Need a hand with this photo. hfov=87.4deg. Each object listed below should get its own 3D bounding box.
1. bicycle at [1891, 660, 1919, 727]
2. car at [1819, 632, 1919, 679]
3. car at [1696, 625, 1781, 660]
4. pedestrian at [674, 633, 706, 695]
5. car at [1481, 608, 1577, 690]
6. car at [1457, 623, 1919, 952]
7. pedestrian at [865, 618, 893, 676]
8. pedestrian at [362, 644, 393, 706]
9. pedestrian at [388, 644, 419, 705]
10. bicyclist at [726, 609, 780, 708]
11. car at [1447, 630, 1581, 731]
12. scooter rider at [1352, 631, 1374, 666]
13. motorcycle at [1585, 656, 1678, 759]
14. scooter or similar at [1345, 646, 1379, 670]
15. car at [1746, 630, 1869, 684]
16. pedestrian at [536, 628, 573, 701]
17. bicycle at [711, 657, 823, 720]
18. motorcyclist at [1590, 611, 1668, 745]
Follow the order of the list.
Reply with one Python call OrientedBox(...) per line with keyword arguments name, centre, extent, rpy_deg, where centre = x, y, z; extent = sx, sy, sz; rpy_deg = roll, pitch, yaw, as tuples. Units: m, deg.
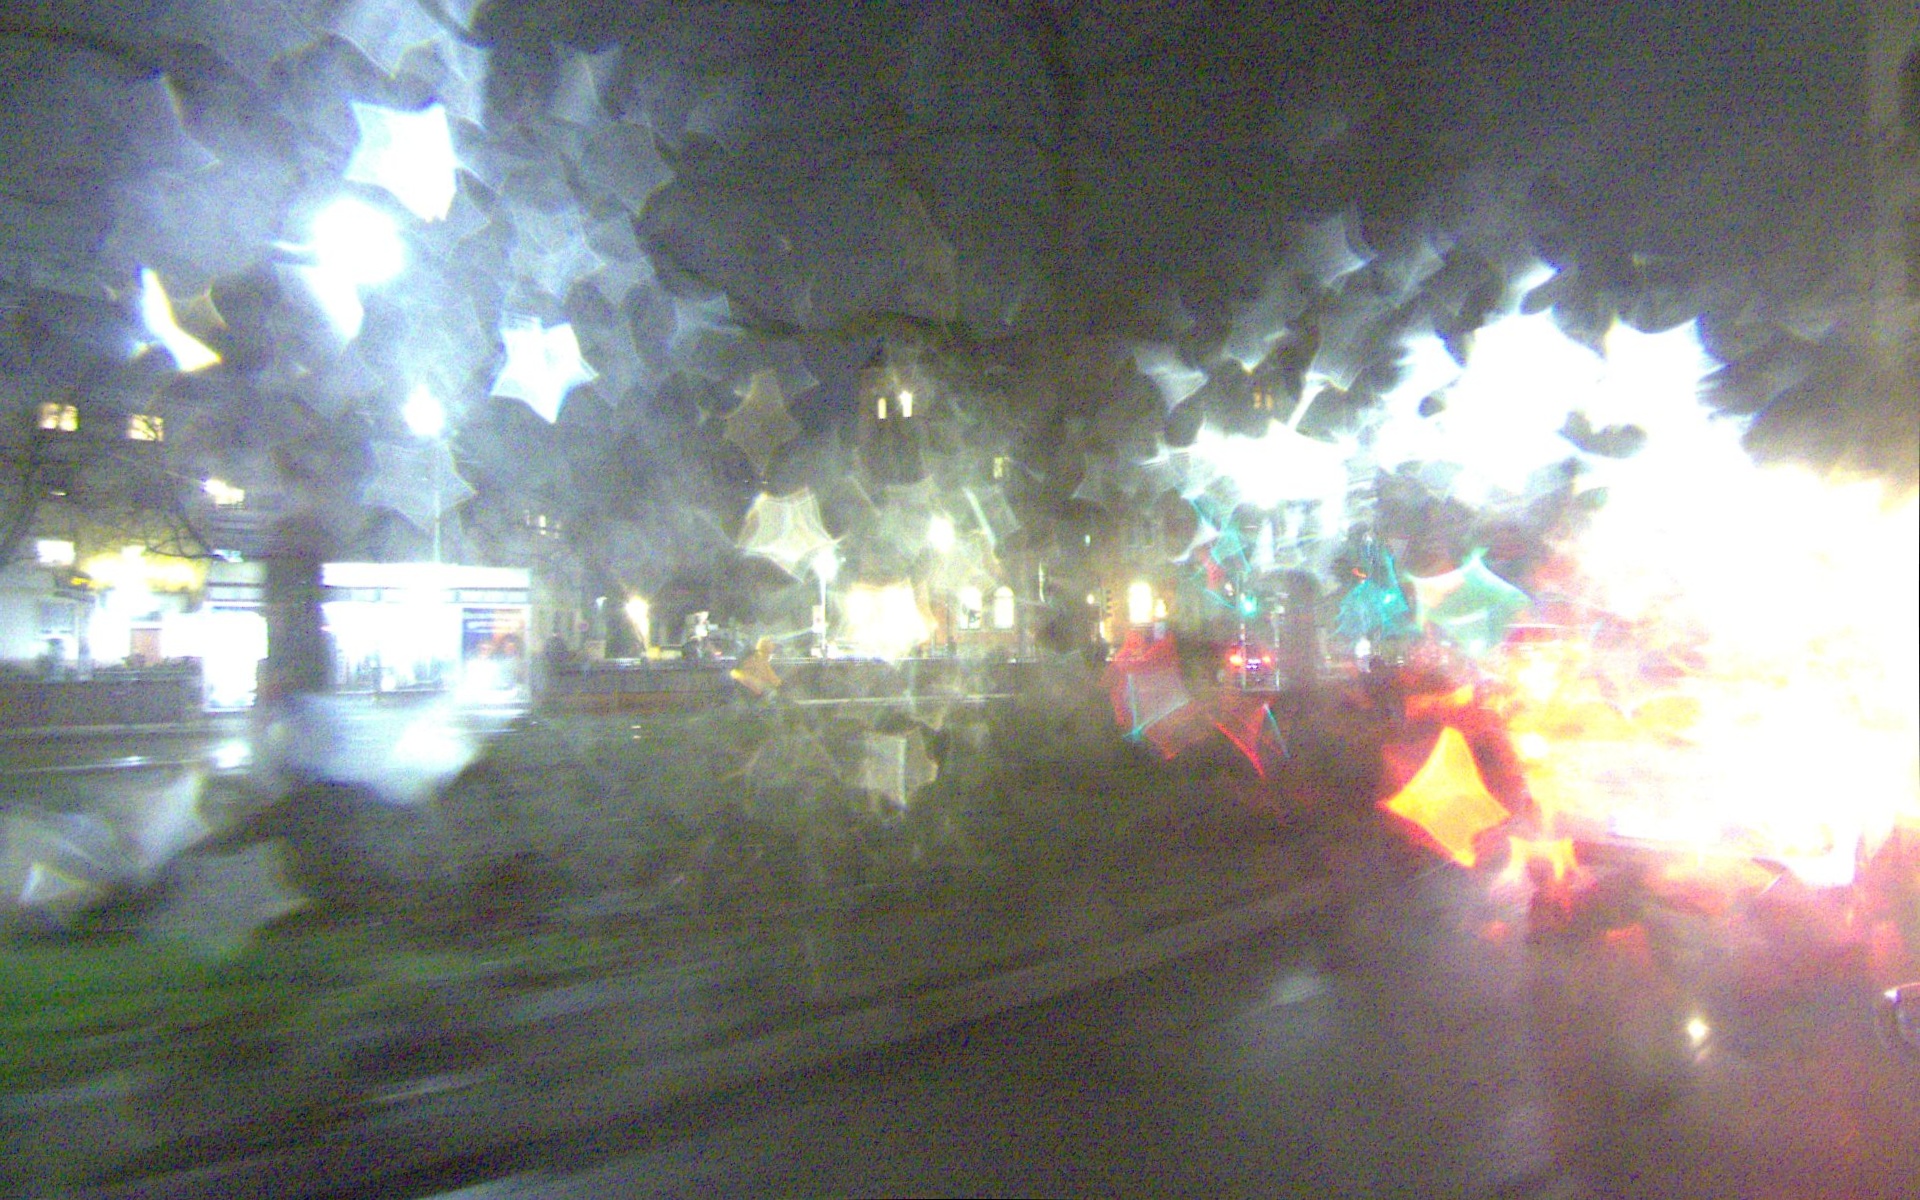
OrientedBox(name="bicycle", centre=(15.706, 1.429, 15.411), extent=(1.936, 1.019, 0.642), rpy_deg=(-2, -3, 21))
OrientedBox(name="car", centre=(31.326, 1.882, 34.227), extent=(4.003, 1.460, 1.640), rpy_deg=(0, -6, -27))
OrientedBox(name="car", centre=(46.325, 2.481, 59.753), extent=(5.240, 1.850, 1.986), rpy_deg=(0, 1, -27))
OrientedBox(name="pedestrian", centre=(-8.064, 1.902, 30.002), extent=(0.710, 1.798, 0.664), rpy_deg=(1, 0, -36))
OrientedBox(name="car", centre=(18.728, 1.545, 32.923), extent=(2.188, 2.474, 5.366), rpy_deg=(-1, -2, 35))
OrientedBox(name="car", centre=(5.001, 0.953, 6.673), extent=(3.573, 1.535, 1.901), rpy_deg=(1, -3, -43))
OrientedBox(name="pedestrian", centre=(-2.583, 1.498, 31.985), extent=(0.662, 1.798, 0.713), rpy_deg=(1, 0, -25))
OrientedBox(name="pedestrian", centre=(-15.158, 1.933, 26.150), extent=(0.571, 1.568, 0.505), rpy_deg=(1, 0, -43))
OrientedBox(name="pedestrian", centre=(-14.720, 1.956, 26.566), extent=(0.582, 1.548, 0.474), rpy_deg=(1, 0, -43))
OrientedBox(name="bicyclist", centre=(-3.391, 0.946, 16.440), extent=(0.803, 1.568, 0.570), rpy_deg=(1, -1, -17))
OrientedBox(name="car", centre=(10.827, 1.506, 19.890), extent=(1.719, 1.762, 3.800), rpy_deg=(0, -2, 20))
OrientedBox(name="scooter rider", centre=(18.744, 2.247, 46.721), extent=(0.641, 1.594, 0.640), rpy_deg=(1, 0, -15))
OrientedBox(name="motorcycle", centre=(8.978, 1.386, 13.515), extent=(0.777, 1.228, 2.248), rpy_deg=(0, -2, 27))
OrientedBox(name="scooter or similar", centre=(18.708, 2.702, 46.713), extent=(1.346, 1.066, 0.640), rpy_deg=(1, 0, -16))
OrientedBox(name="car", centre=(26.799, 1.802, 31.768), extent=(3.534, 1.544, 1.643), rpy_deg=(0, -6, -27))
OrientedBox(name="pedestrian", centre=(-11.442, 1.815, 28.334), extent=(0.848, 2.013, 0.605), rpy_deg=(1, 0, -29))
OrientedBox(name="bicycle", centre=(-3.172, 1.438, 16.501), extent=(1.752, 0.982, 0.570), rpy_deg=(1, -1, -17))
OrientedBox(name="motorcyclist", centre=(8.942, 1.021, 13.451), extent=(0.777, 1.717, 0.819), rpy_deg=(0, -2, 27))
